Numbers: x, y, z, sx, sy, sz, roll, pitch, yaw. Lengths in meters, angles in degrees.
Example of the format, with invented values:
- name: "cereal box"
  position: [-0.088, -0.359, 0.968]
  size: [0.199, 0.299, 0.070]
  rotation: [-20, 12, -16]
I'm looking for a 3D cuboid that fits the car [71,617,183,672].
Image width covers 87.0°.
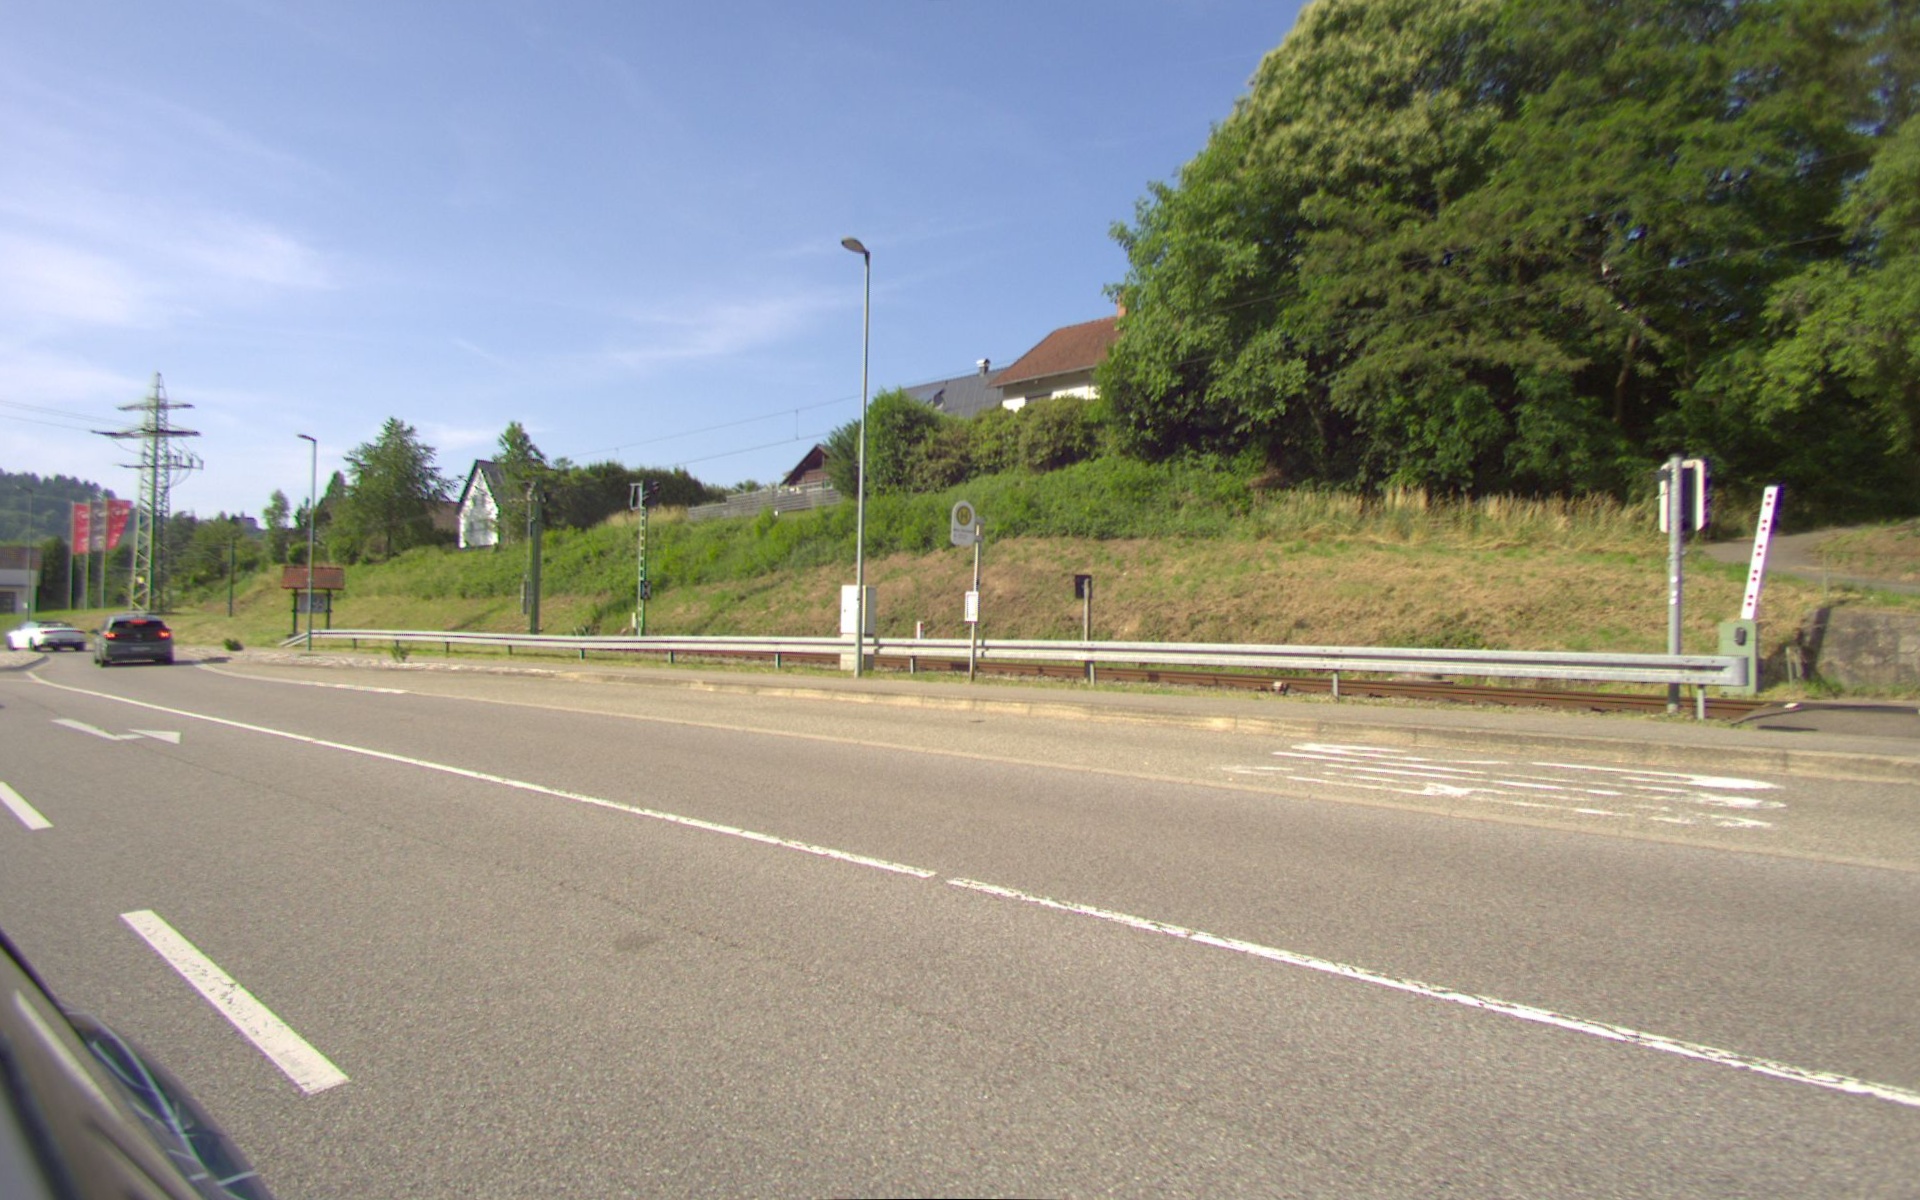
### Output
- name: "car"
  position: [-25.980, 1.333, 31.527]
  size: [3.996, 1.541, 1.974]
  rotation: [-1, 0, 39]

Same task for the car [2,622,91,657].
- name: "car"
  position: [-40.588, 1.725, 44.941]
  size: [3.988, 1.453, 1.978]
  rotation: [-1, 0, 33]
